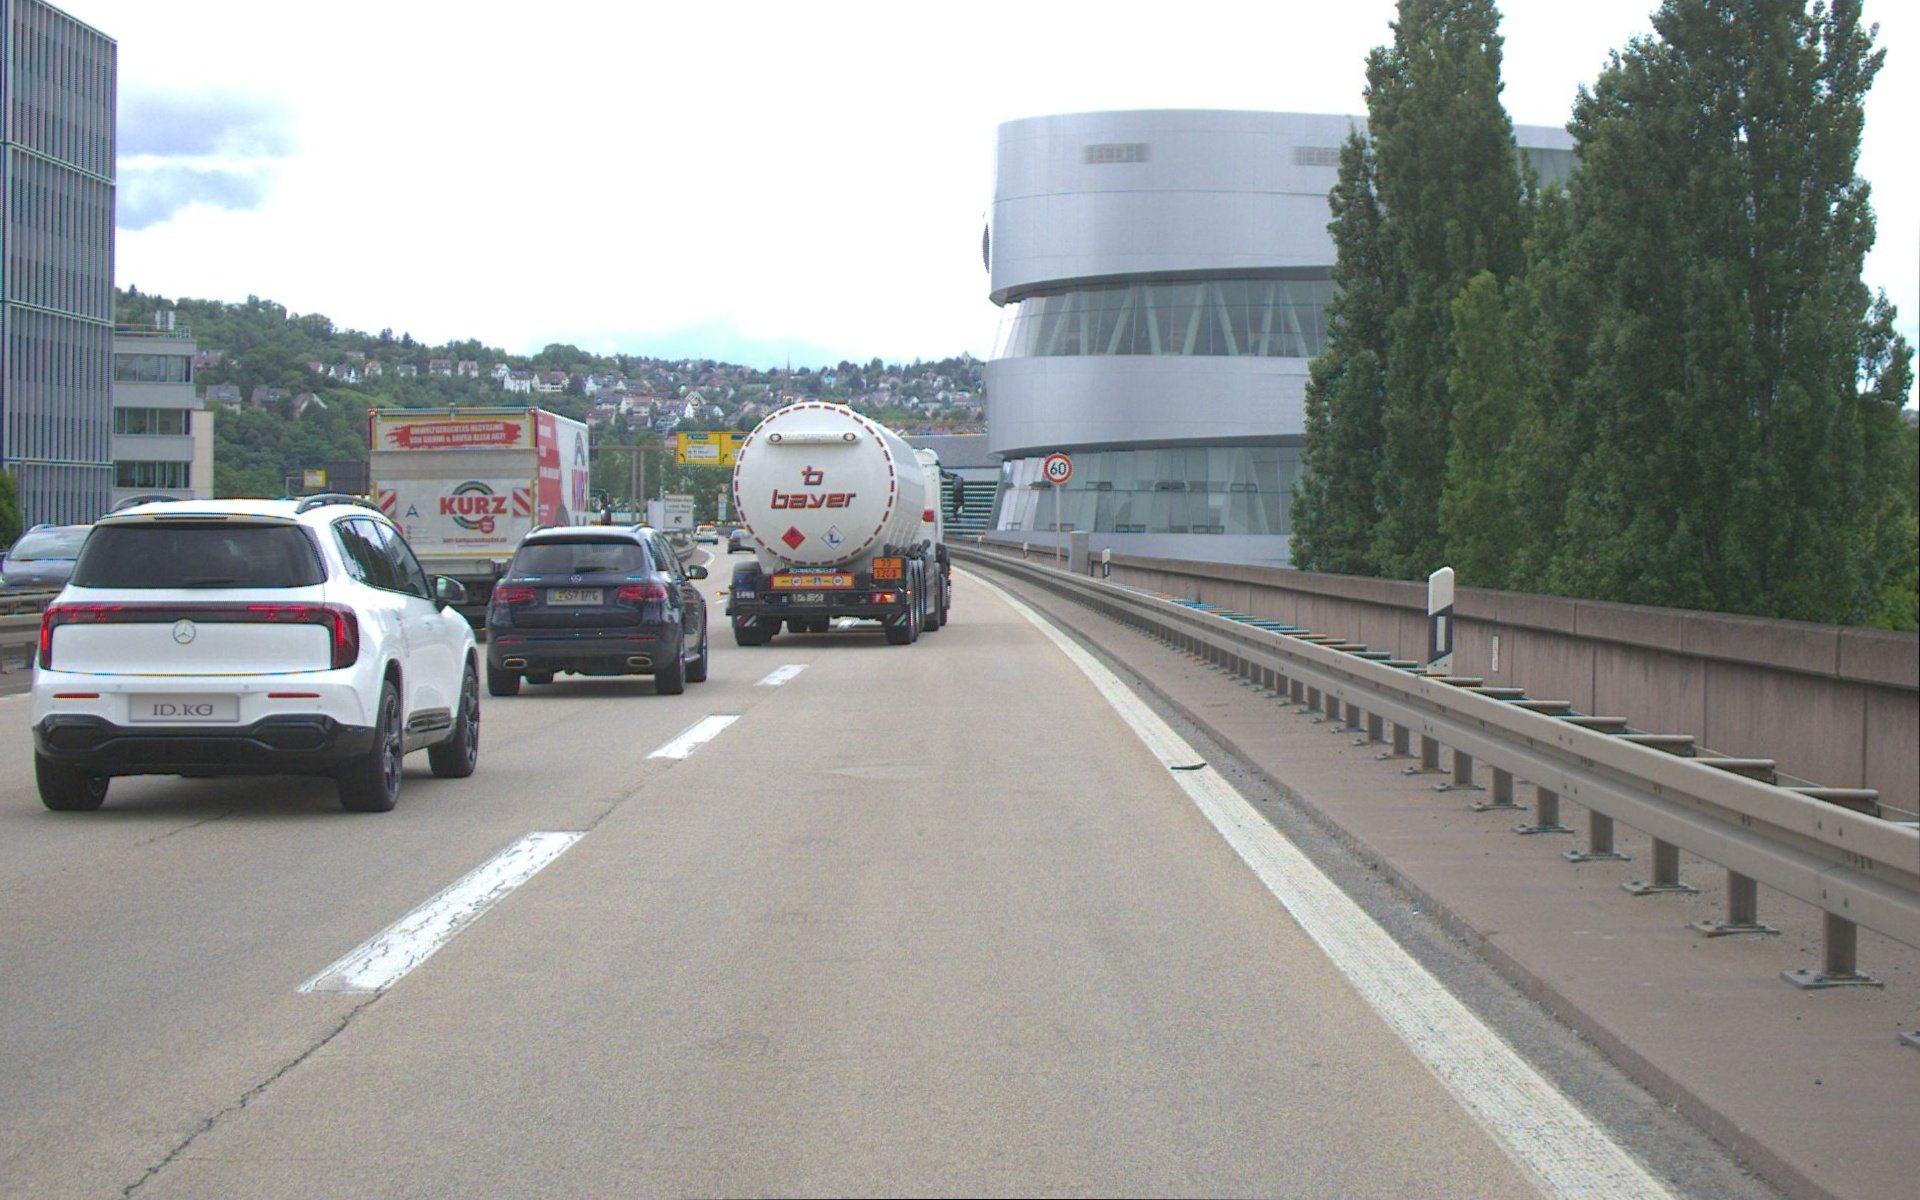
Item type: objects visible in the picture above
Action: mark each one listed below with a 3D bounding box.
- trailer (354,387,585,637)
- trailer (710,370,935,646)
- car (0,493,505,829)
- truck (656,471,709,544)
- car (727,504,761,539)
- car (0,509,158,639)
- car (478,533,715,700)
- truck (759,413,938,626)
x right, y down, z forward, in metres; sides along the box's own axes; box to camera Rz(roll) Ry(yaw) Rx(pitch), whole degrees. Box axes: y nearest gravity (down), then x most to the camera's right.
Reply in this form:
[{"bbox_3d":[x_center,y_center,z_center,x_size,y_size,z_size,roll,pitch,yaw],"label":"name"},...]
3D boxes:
[{"bbox_3d":[-7.699,-1.405,54.832,2.690,3.677,7.314,-1,1,-1],"label":"trailer"},{"bbox_3d":[-1.924,-1.392,52.509,2.792,3.724,11.156,-1,1,1],"label":"trailer"},{"bbox_3d":[-3.969,0.271,19.835,1.993,1.663,4.892,1,1,0],"label":"car"},{"bbox_3d":[-15.183,-5.053,188.260,2.395,3.880,5.943,-1,1,0],"label":"truck"},{"bbox_3d":[-12.881,-4.677,204.890,1.993,2.007,4.001,-1,1,-4],"label":"car"},{"bbox_3d":[-14.600,-0.459,55.926,1.993,2.007,4.551,-1,1,0],"label":"car"},{"bbox_3d":[-3.538,0.127,34.138,1.846,1.499,4.265,2,1,0],"label":"car"},{"bbox_3d":[-1.835,-1.384,58.945,2.769,3.418,5.965,-1,1,1],"label":"truck"}]
